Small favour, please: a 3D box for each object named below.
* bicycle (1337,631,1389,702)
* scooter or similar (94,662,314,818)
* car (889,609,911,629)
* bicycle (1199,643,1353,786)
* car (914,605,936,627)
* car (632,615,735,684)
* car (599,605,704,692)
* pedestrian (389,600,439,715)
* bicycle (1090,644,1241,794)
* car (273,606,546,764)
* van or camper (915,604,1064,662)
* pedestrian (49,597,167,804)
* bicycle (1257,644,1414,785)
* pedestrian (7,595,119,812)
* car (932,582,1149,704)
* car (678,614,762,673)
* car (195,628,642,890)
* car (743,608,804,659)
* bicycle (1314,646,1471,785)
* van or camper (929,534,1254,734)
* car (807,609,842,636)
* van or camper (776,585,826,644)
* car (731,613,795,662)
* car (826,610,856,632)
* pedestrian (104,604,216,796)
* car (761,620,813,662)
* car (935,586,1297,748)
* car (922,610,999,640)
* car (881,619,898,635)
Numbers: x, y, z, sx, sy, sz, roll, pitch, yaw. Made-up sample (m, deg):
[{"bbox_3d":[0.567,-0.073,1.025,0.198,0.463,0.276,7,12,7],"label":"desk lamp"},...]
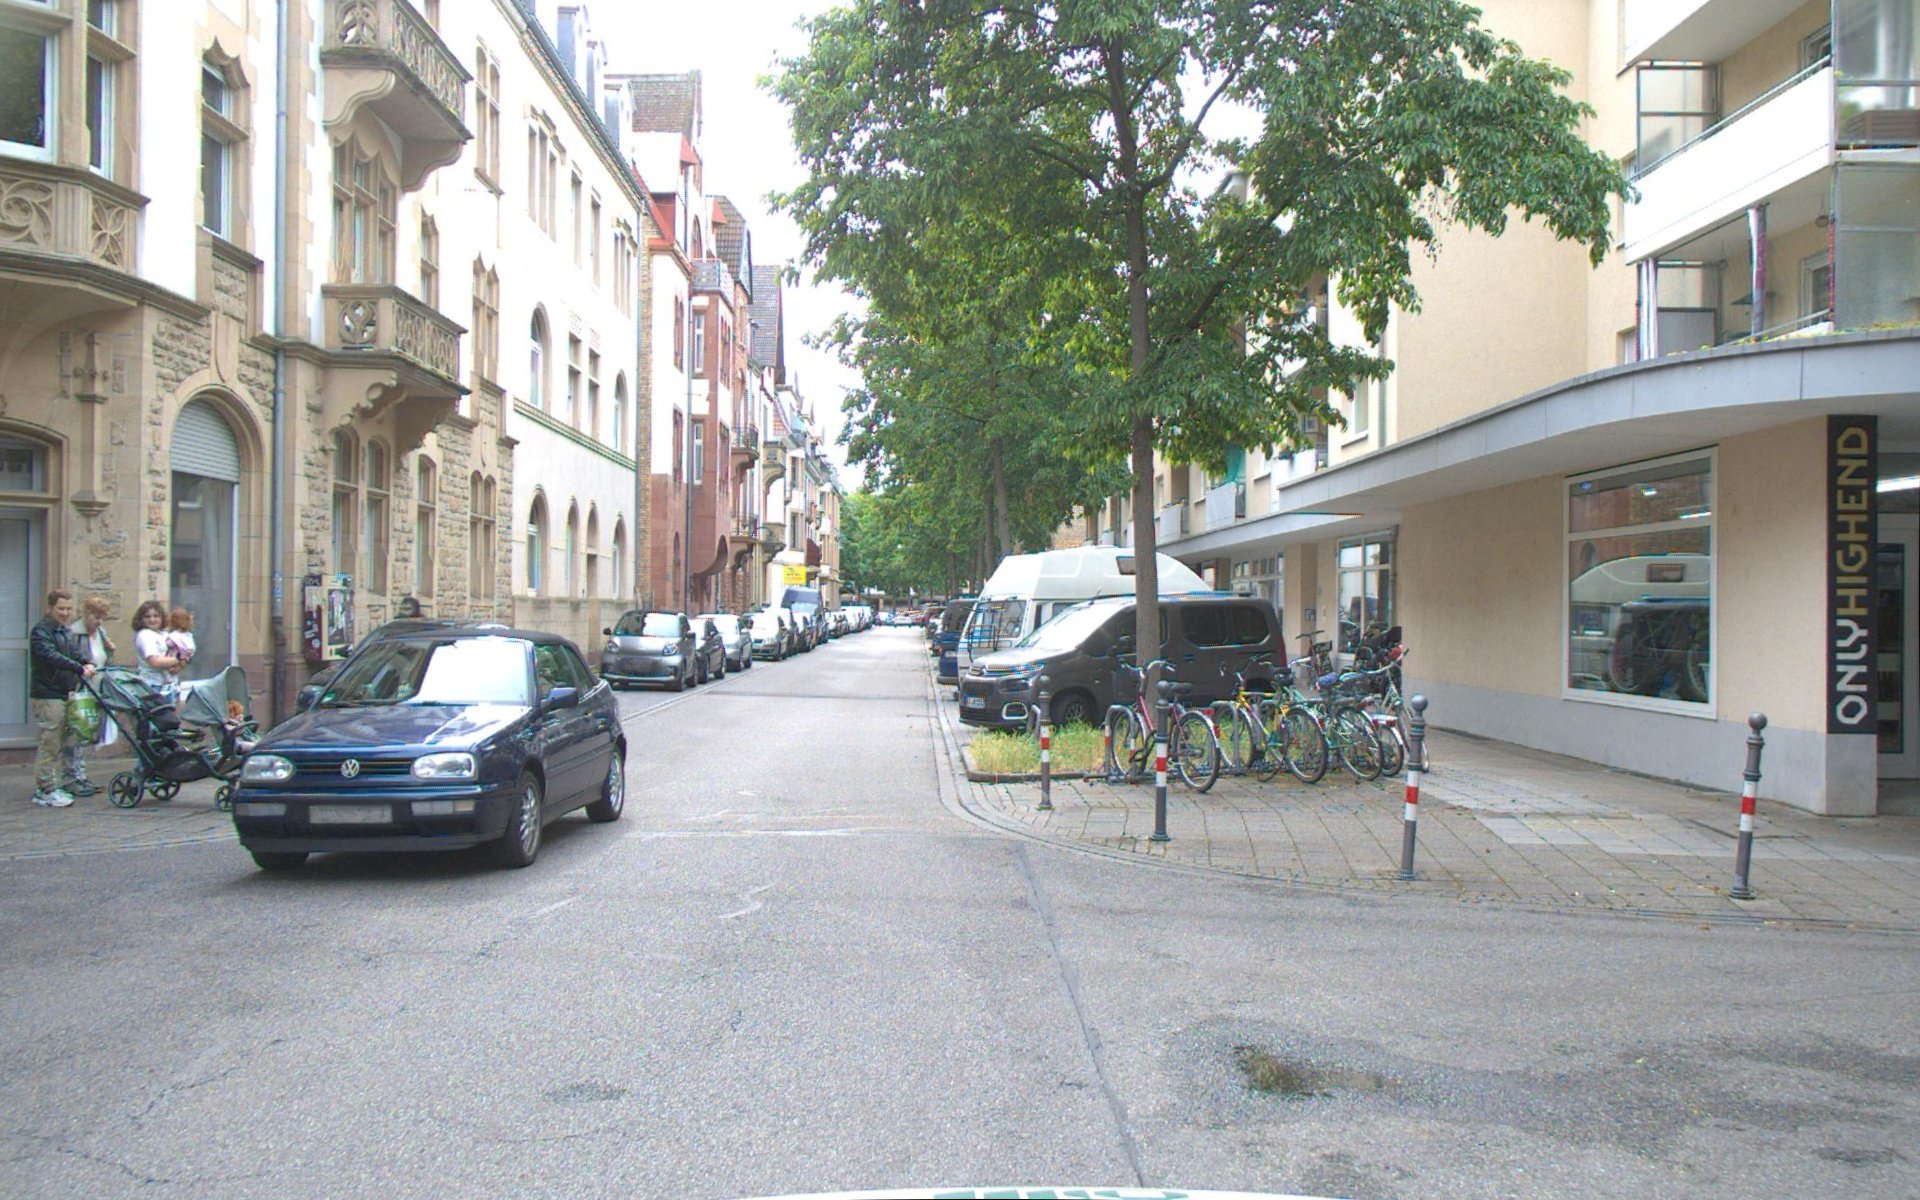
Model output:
[{"bbox_3d":[6.713,1.091,27.594,0.474,1.109,1.701,0,0,1],"label":"bicycle"},{"bbox_3d":[-6.082,1.106,13.331,1.438,1.123,0.676,2,0,10],"label":"scooter or similar"},{"bbox_3d":[-5.860,1.877,161.829,1.953,1.825,3.999,2,-1,-1],"label":"car"},{"bbox_3d":[2.884,1.012,15.245,0.541,1.194,1.716,0,0,-23],"label":"bicycle"},{"bbox_3d":[-3.440,1.561,162.615,1.954,2.049,3.998,3,0,-2],"label":"car"},{"bbox_3d":[-6.194,1.109,37.419,1.691,1.411,3.927,2,-1,-1],"label":"car"},{"bbox_3d":[-6.185,0.942,33.417,1.613,1.598,2.955,2,1,-2],"label":"car"},{"bbox_3d":[-7.424,0.773,22.491,0.505,1.545,0.546,0,0,-2],"label":"pedestrian"},{"bbox_3d":[1.787,1.010,14.630,0.541,1.194,1.716,0,0,-23],"label":"bicycle"},{"bbox_3d":[-6.002,0.897,18.541,1.674,1.521,3.999,2,-1,0],"label":"car"},{"bbox_3d":[1.072,1.149,59.094,4.952,1.902,2.106,-1,-1,-30],"label":"van or camper"},{"bbox_3d":[-7.083,0.816,13.771,0.603,1.672,0.604,1,0,10],"label":"pedestrian"},{"bbox_3d":[3.482,1.037,15.479,0.541,1.194,1.716,0,0,-23],"label":"bicycle"},{"bbox_3d":[-7.109,0.803,13.120,0.516,1.672,0.529,2,0,10],"label":"pedestrian"},{"bbox_3d":[1.663,0.813,32.803,2.030,2.235,4.373,0,-1,41],"label":"car"},{"bbox_3d":[-6.369,1.120,44.281,1.691,1.411,4.135,2,0,-2],"label":"car"},{"bbox_3d":[-3.357,0.923,11.049,1.673,1.438,3.852,0,-1,1],"label":"car"},{"bbox_3d":[-6.631,1.148,59.072,1.750,1.675,4.360,2,0,-2],"label":"car"},{"bbox_3d":[4.083,1.063,15.747,0.541,1.194,1.686,0,0,-23],"label":"bicycle"},{"bbox_3d":[1.960,0.472,24.002,4.542,2.641,1.888,1,-1,-34],"label":"van or camper"},{"bbox_3d":[-7.788,1.269,95.357,1.753,1.506,4.020,1,0,-2],"label":"car"},{"bbox_3d":[-7.470,0.631,77.996,1.967,2.698,5.314,0,0,-1],"label":"van or camper"},{"bbox_3d":[-6.288,1.173,53.063,1.629,1.445,3.927,2,0,-2],"label":"car"},{"bbox_3d":[-8.523,1.497,118.473,1.953,1.501,3.999,0,0,-2],"label":"car"},{"bbox_3d":[-7.025,0.853,14.531,0.620,1.621,0.666,1,0,39],"label":"pedestrian"},{"bbox_3d":[-6.686,1.569,64.230,1.601,1.499,3.999,2,0,-1],"label":"car"},{"bbox_3d":[2.006,0.807,21.133,4.280,1.886,1.894,1,-1,-27],"label":"car"},{"bbox_3d":[0.019,1.395,92.252,3.972,1.587,1.864,1,-1,-33],"label":"car"},{"bbox_3d":[-7.826,2.998,184.487,1.784,1.674,3.752,2,-1,-2],"label":"car"}]
